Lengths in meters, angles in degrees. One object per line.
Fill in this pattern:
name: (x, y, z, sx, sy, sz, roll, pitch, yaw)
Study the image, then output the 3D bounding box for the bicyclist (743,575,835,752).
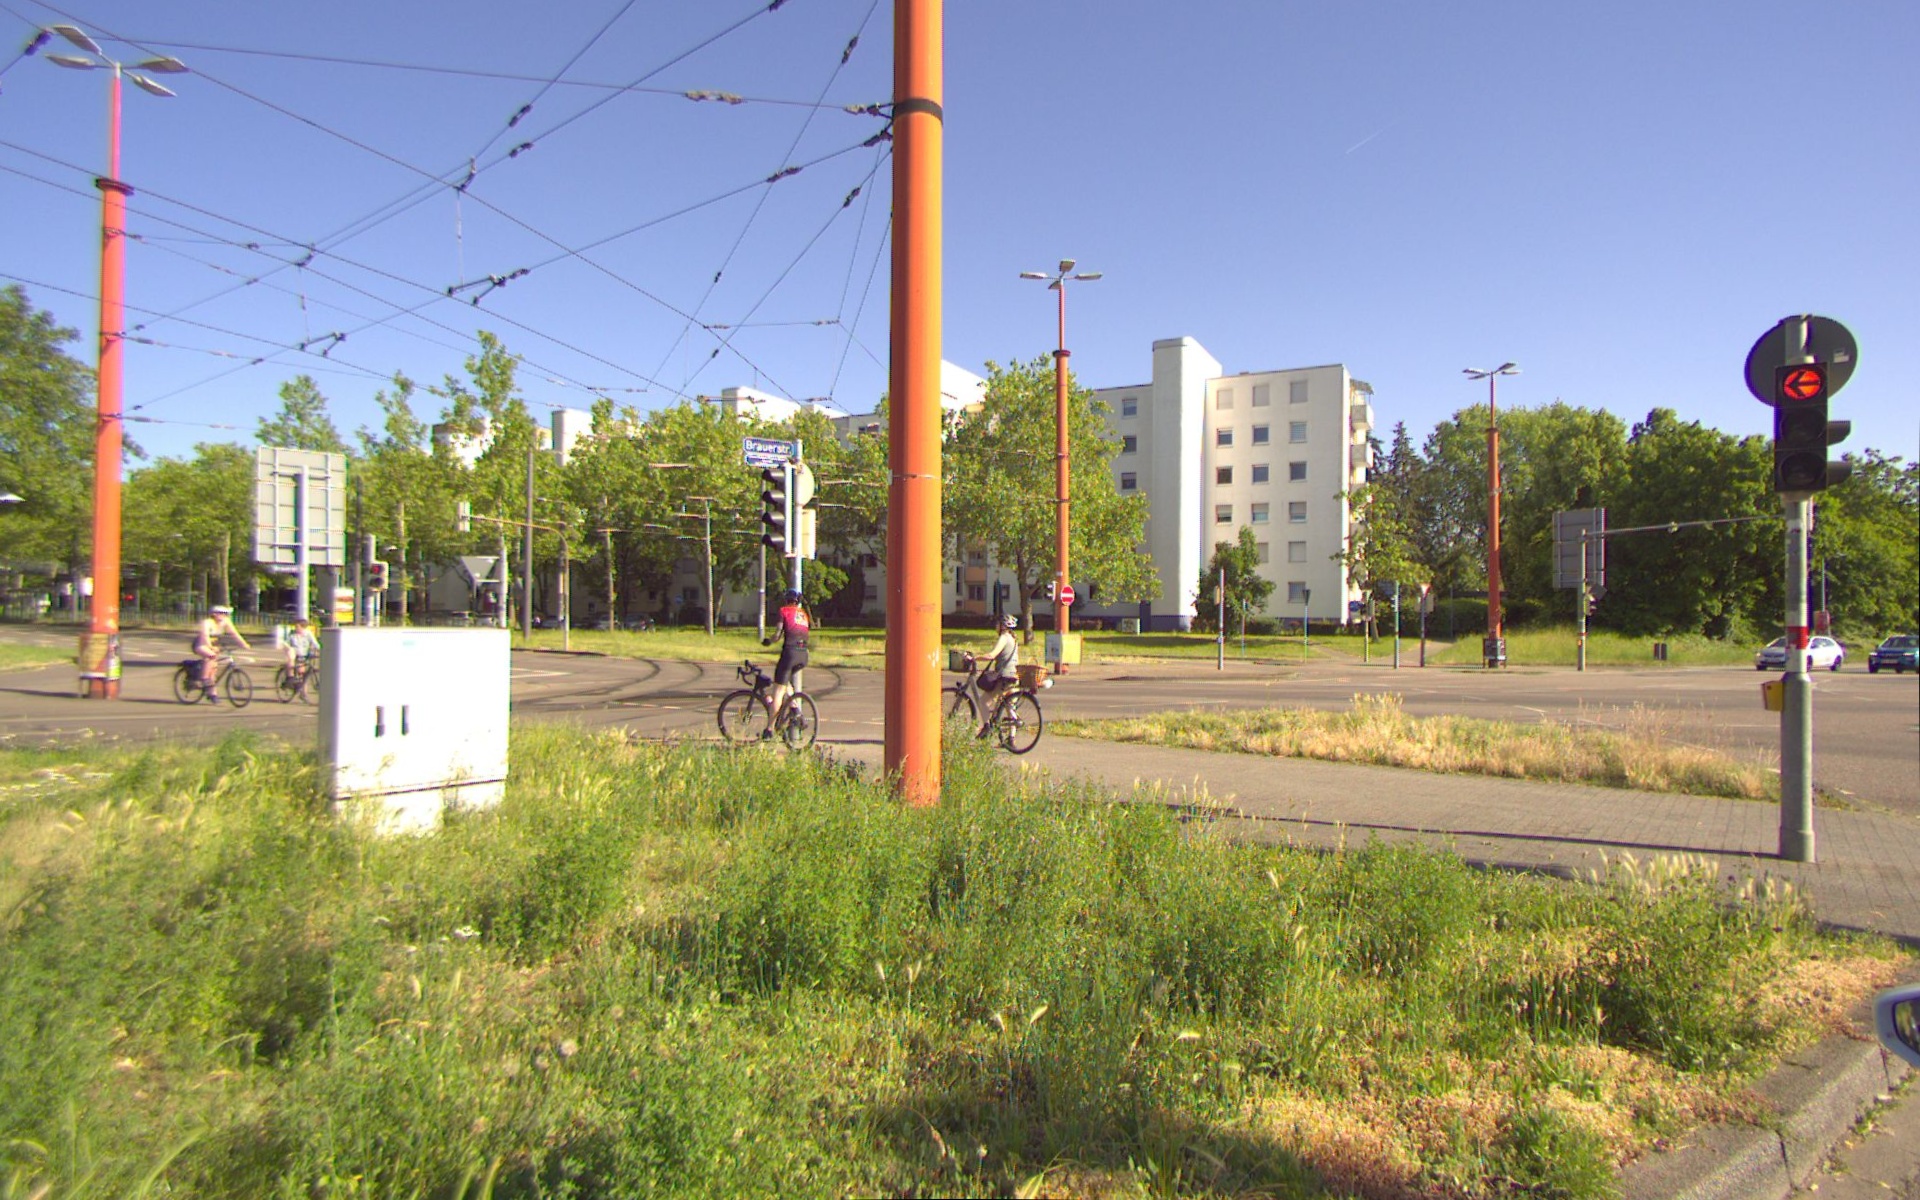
bicyclist: (-2.075, 0.748, 12.142, 0.921, 2.040, 0.736, 1, -1, -25)

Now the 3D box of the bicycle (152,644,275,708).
bicycle: (-14.038, 1.412, 18.898, 1.849, 1.102, 0.928, 0, -1, 18)

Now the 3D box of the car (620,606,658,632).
car: (-23.411, 1.397, 73.420, 1.963, 1.840, 3.995, 1, -1, -8)

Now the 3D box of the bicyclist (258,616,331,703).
bicyclist: (-13.221, 1.162, 19.971, 0.726, 1.659, 0.934, 0, -1, 18)

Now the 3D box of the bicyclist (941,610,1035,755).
bicyclist: (0.349, 0.957, 12.100, 0.728, 1.659, 0.931, 0, -1, 35)

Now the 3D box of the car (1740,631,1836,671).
car: (35.135, 2.149, 42.607, 4.075, 1.594, 1.983, 1, -1, -32)

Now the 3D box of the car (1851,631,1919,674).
car: (37.259, 2.037, 39.867, 4.079, 1.594, 1.981, 2, -1, -35)

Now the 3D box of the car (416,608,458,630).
car: (-46.030, 1.673, 88.480, 1.963, 1.840, 3.995, 1, -1, -8)

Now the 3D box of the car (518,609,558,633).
car: (-33.816, 1.668, 80.531, 1.963, 1.840, 3.995, 1, -1, -8)

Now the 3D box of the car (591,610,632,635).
car: (-26.117, 1.684, 75.332, 1.962, 1.840, 3.997, 1, -1, -5)

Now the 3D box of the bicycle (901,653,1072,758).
bicycle: (0.305, 1.227, 12.124, 1.855, 1.102, 0.925, 0, -1, 34)

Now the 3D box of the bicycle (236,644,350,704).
bicycle: (-13.261, 1.442, 19.983, 1.849, 1.102, 0.928, 0, -1, 18)

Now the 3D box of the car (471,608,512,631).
car: (-39.292, 1.639, 84.330, 1.963, 1.840, 3.995, 1, -1, -8)

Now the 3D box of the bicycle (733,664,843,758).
bicycle: (-2.125, 1.307, 12.238, 0.915, 0.976, 1.747, 1, -1, -24)

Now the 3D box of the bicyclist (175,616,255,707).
bicyclist: (-14.011, 1.133, 18.900, 0.726, 1.659, 0.934, 0, -1, 18)

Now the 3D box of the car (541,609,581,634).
car: (-31.200, 1.673, 78.682, 1.963, 1.840, 3.995, 1, -1, -8)

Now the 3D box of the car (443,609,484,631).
car: (-42.681, 1.697, 86.451, 1.963, 1.840, 3.995, 1, -1, -8)
